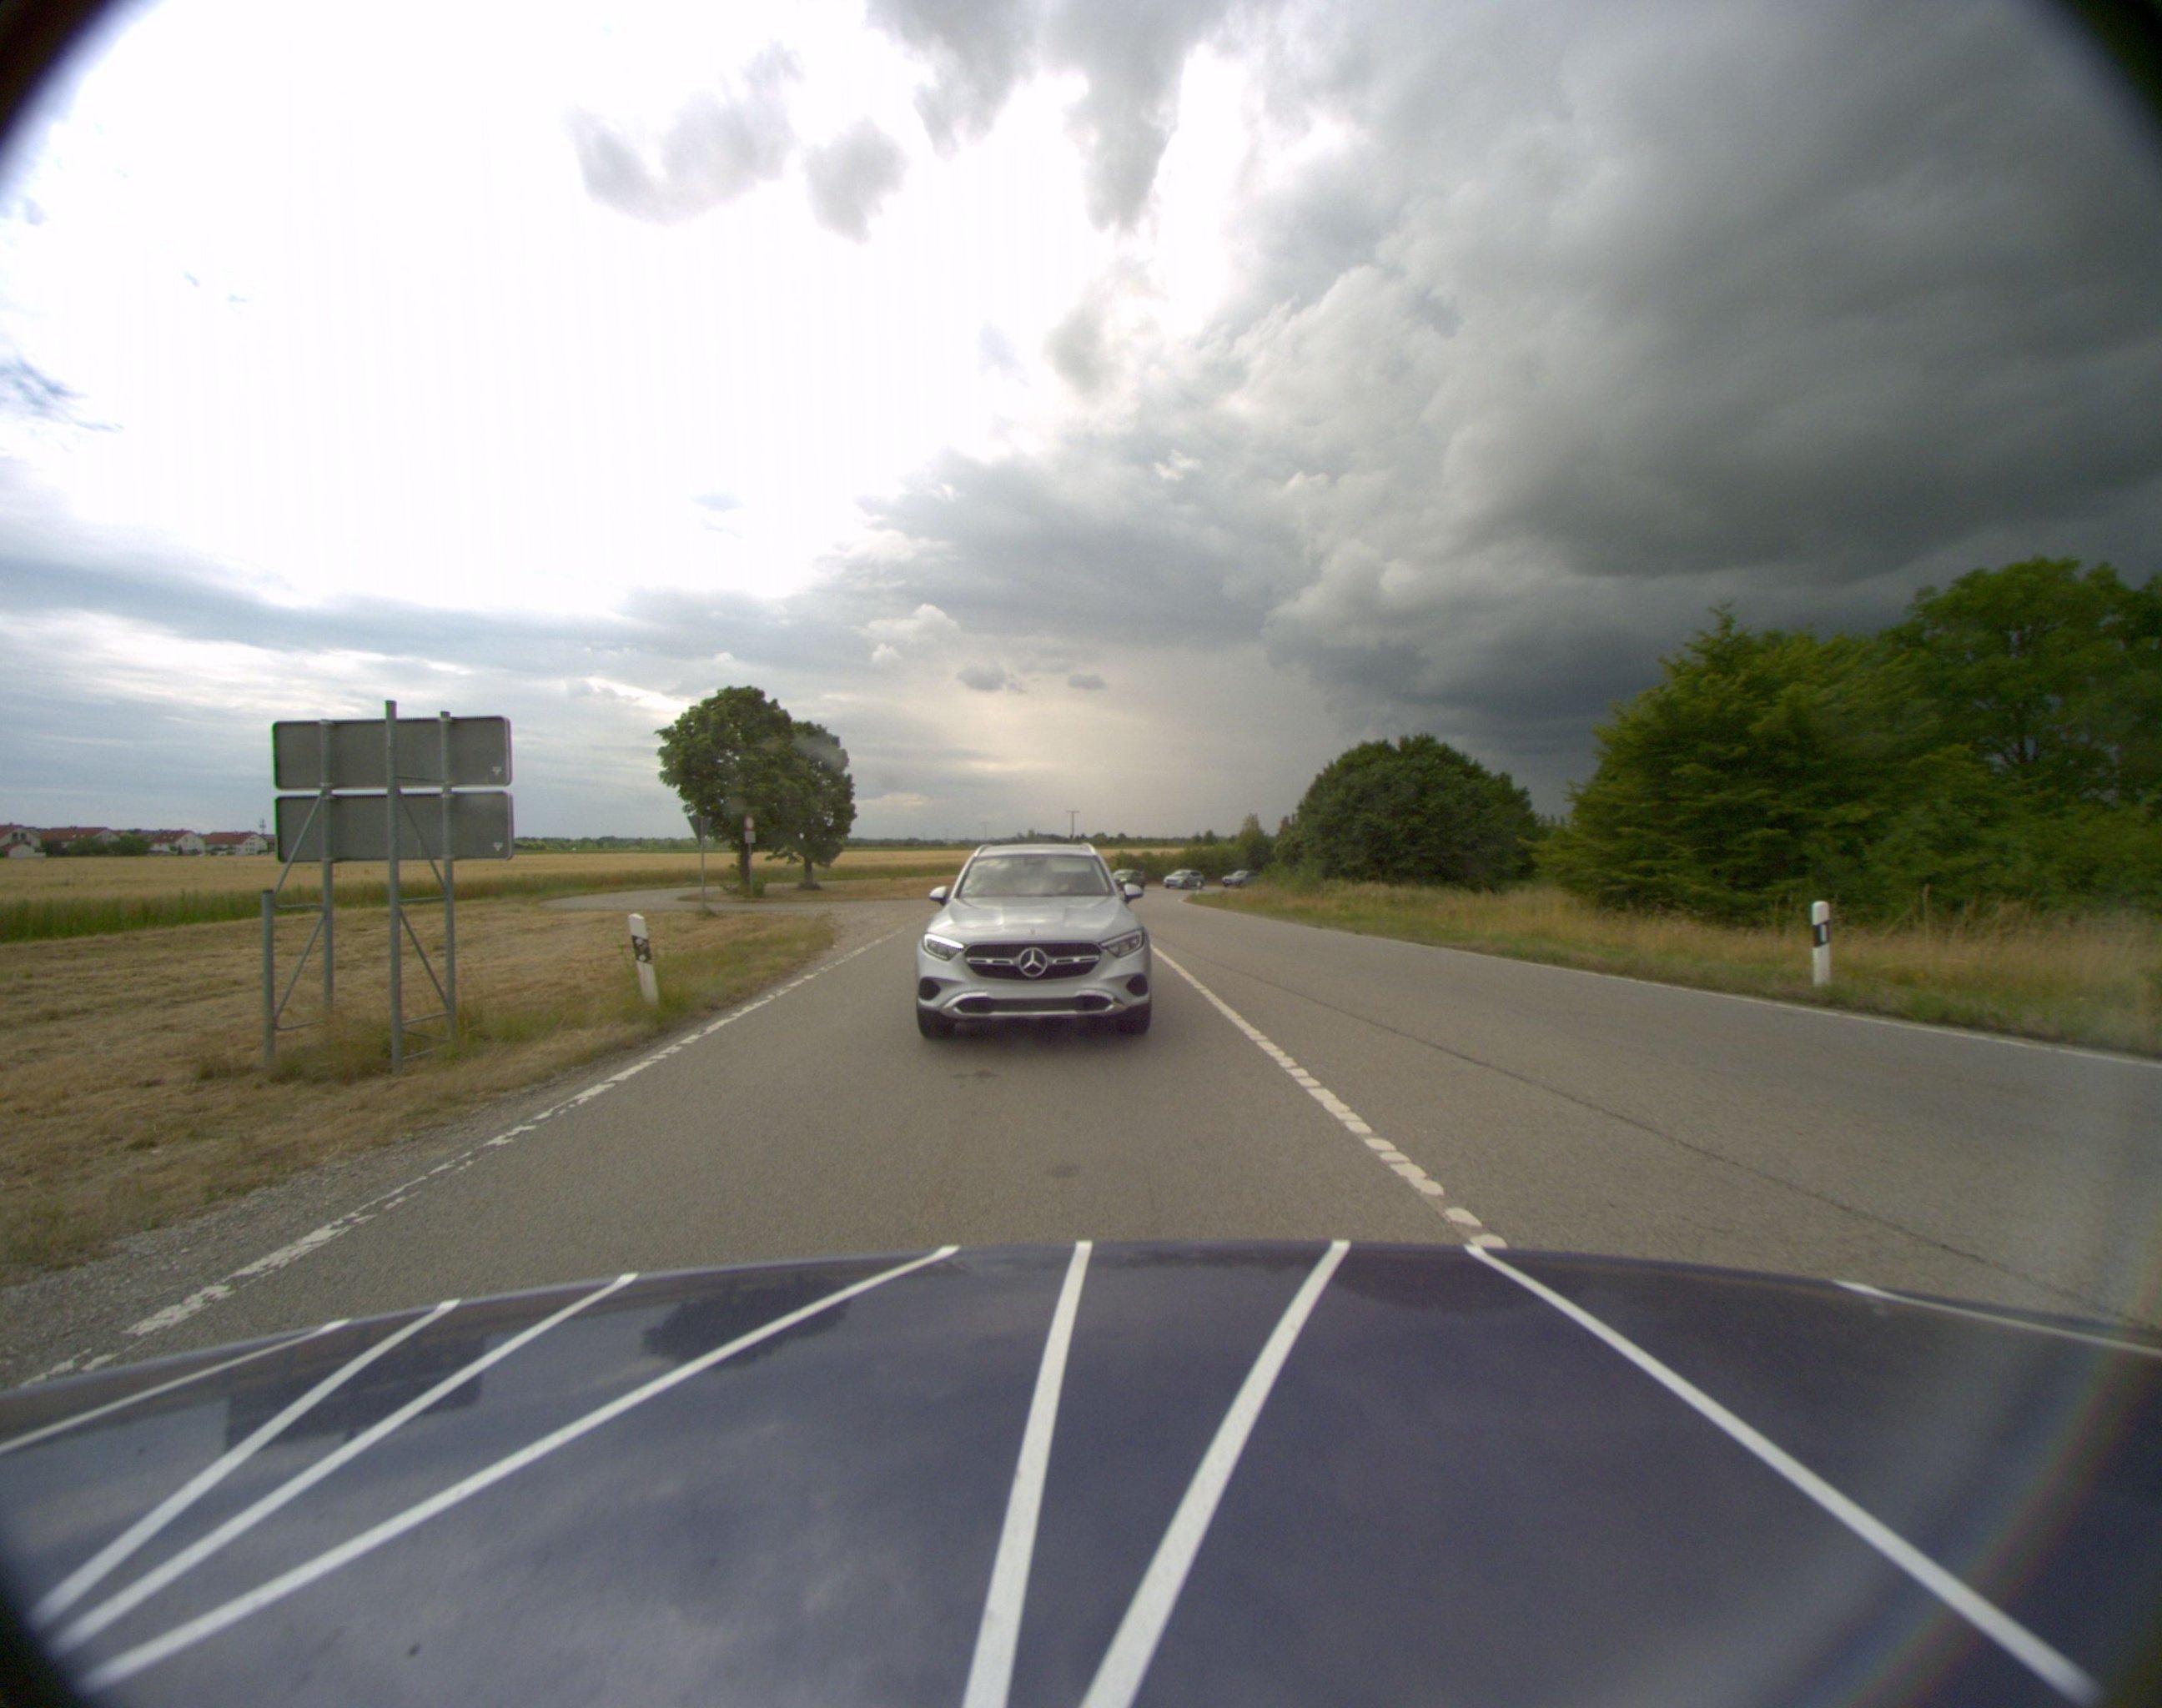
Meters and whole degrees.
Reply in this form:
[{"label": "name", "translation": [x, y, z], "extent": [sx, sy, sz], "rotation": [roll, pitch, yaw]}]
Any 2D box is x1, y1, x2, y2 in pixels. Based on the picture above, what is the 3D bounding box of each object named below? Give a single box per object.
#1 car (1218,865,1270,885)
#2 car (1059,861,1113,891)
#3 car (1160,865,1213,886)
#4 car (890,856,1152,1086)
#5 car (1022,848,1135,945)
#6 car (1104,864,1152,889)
[{"label": "car", "translation": [15.722, 2.005, 73.117], "extent": [5.219, 1.710, 1.994], "rotation": [0, 2, -39]}, {"label": "car", "translation": [0.396, 1.361, 47.803], "extent": [1.996, 1.709, 5.216], "rotation": [3, 0, 17]}, {"label": "car", "translation": [9.134, 1.866, 65.350], "extent": [1.994, 1.709, 5.221], "rotation": [3, 0, 39]}, {"label": "car", "translation": [-0.480, 0.833, 7.593], "extent": [1.837, 1.577, 4.449], "rotation": [0, 0, -2]}, {"label": "car", "translation": [-0.005, 0.780, 16.073], "extent": [1.998, 1.709, 5.209], "rotation": [1, -1, 1]}, {"label": "car", "translation": [3.554, 1.646, 56.576], "extent": [1.995, 1.709, 5.218], "rotation": [3, 0, 21]}]
